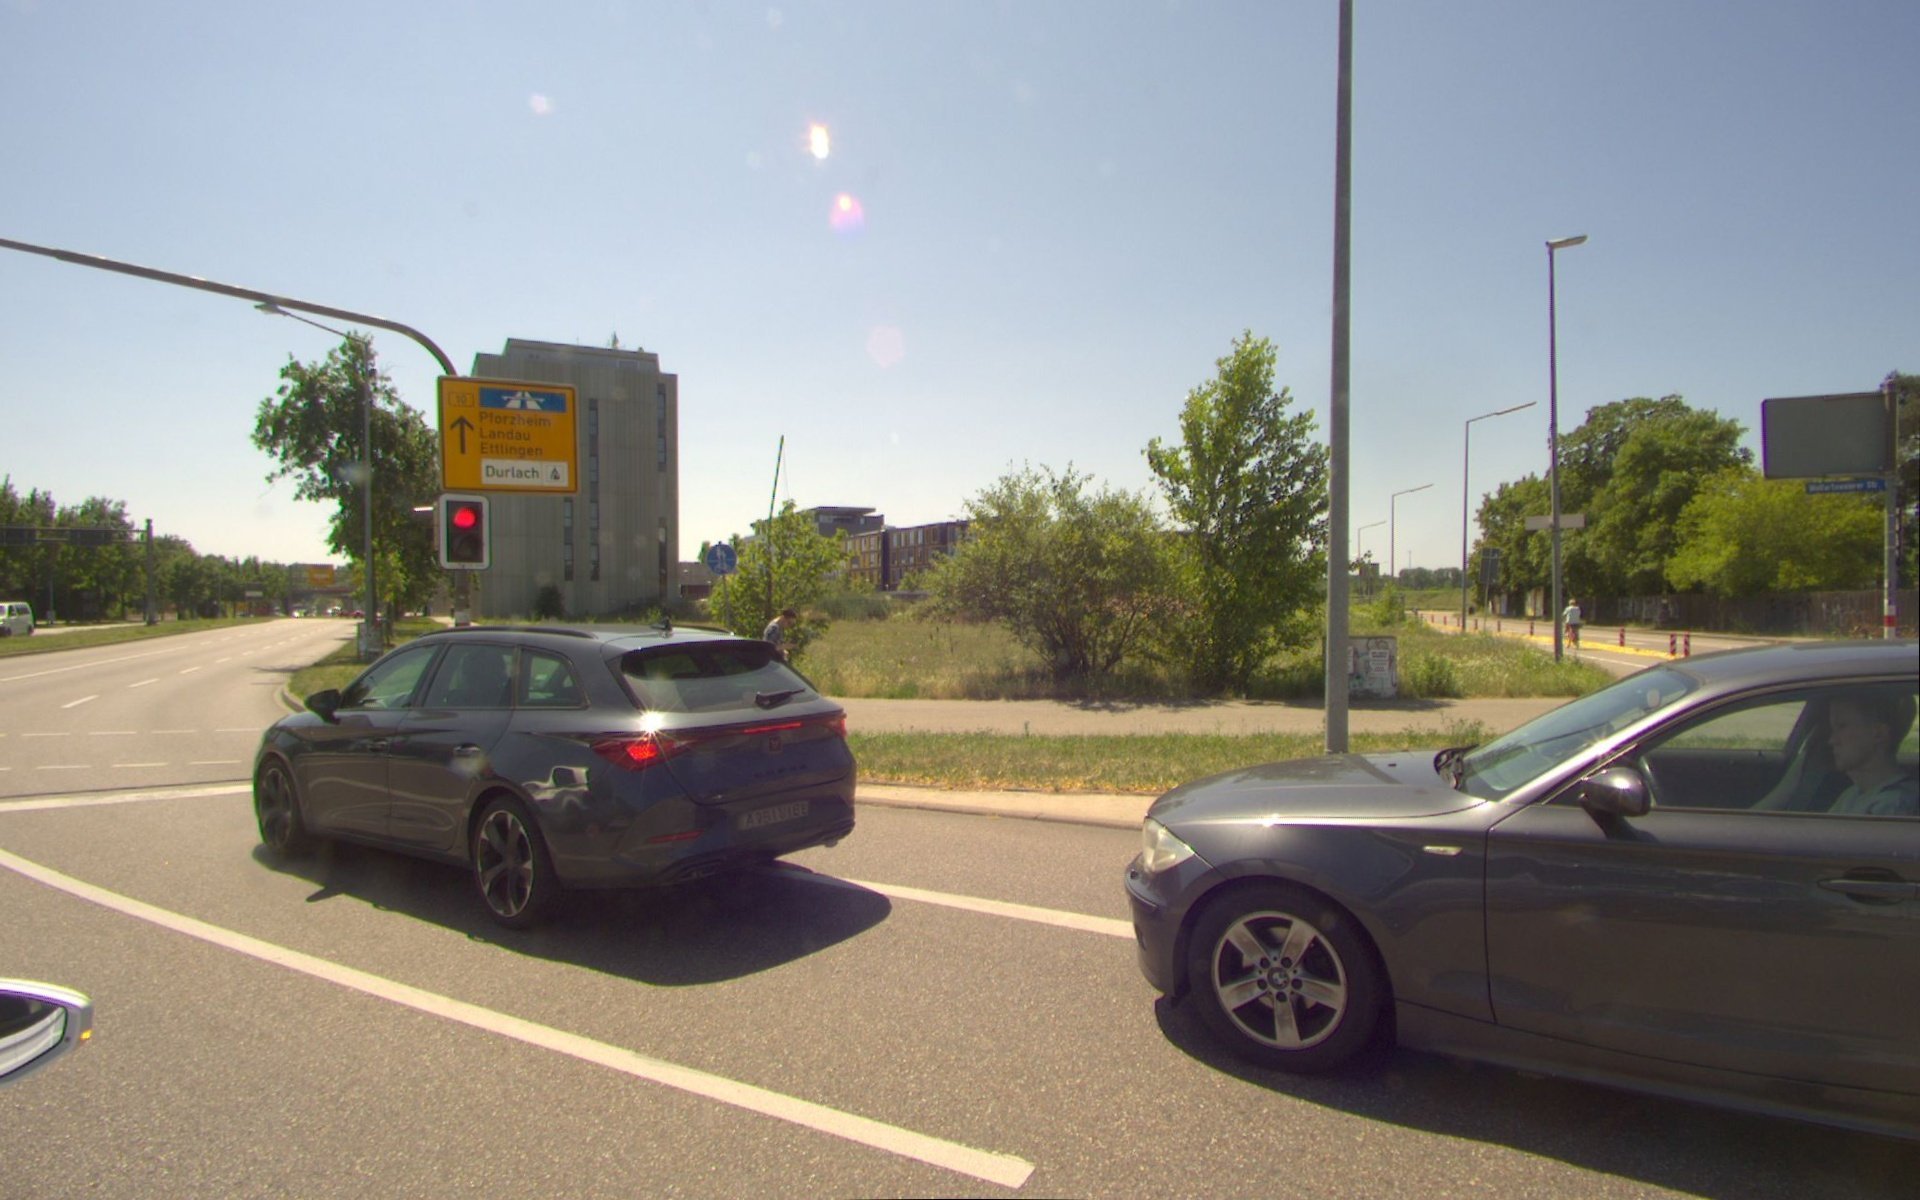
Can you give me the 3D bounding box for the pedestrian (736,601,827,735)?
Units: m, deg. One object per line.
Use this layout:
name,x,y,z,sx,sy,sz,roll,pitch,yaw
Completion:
pedestrian,-2.332,0.856,13.064,0.942,1.659,0.753,-2,1,-29

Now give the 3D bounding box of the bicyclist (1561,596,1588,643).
bicyclist,22.080,0.686,36.004,0.737,1.662,1.158,1,0,27

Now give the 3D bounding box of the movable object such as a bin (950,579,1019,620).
movable object such as a bin,2.138,-0.045,83.735,2.770,3.190,7.577,-1,0,26

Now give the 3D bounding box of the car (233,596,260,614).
car,-74.045,0.508,103.973,1.780,1.714,4.123,-2,0,-28

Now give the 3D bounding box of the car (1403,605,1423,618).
car,55.860,1.455,123.476,1.728,1.565,3.689,0,0,16

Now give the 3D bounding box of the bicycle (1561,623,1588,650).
bicycle,22.081,1.297,36.013,0.619,0.891,1.869,0,0,26

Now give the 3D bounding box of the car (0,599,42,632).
car,-47.077,0.778,49.337,1.842,1.575,3.979,0,0,-30

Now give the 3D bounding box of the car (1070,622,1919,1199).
car,2.559,0.803,3.301,4.020,1.421,1.745,0,-1,31

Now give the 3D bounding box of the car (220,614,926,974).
car,-2.547,0.824,6.183,4.395,1.437,1.988,0,0,35

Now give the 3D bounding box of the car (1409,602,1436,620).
car,42.146,1.009,91.301,1.728,1.565,3.689,0,0,16
